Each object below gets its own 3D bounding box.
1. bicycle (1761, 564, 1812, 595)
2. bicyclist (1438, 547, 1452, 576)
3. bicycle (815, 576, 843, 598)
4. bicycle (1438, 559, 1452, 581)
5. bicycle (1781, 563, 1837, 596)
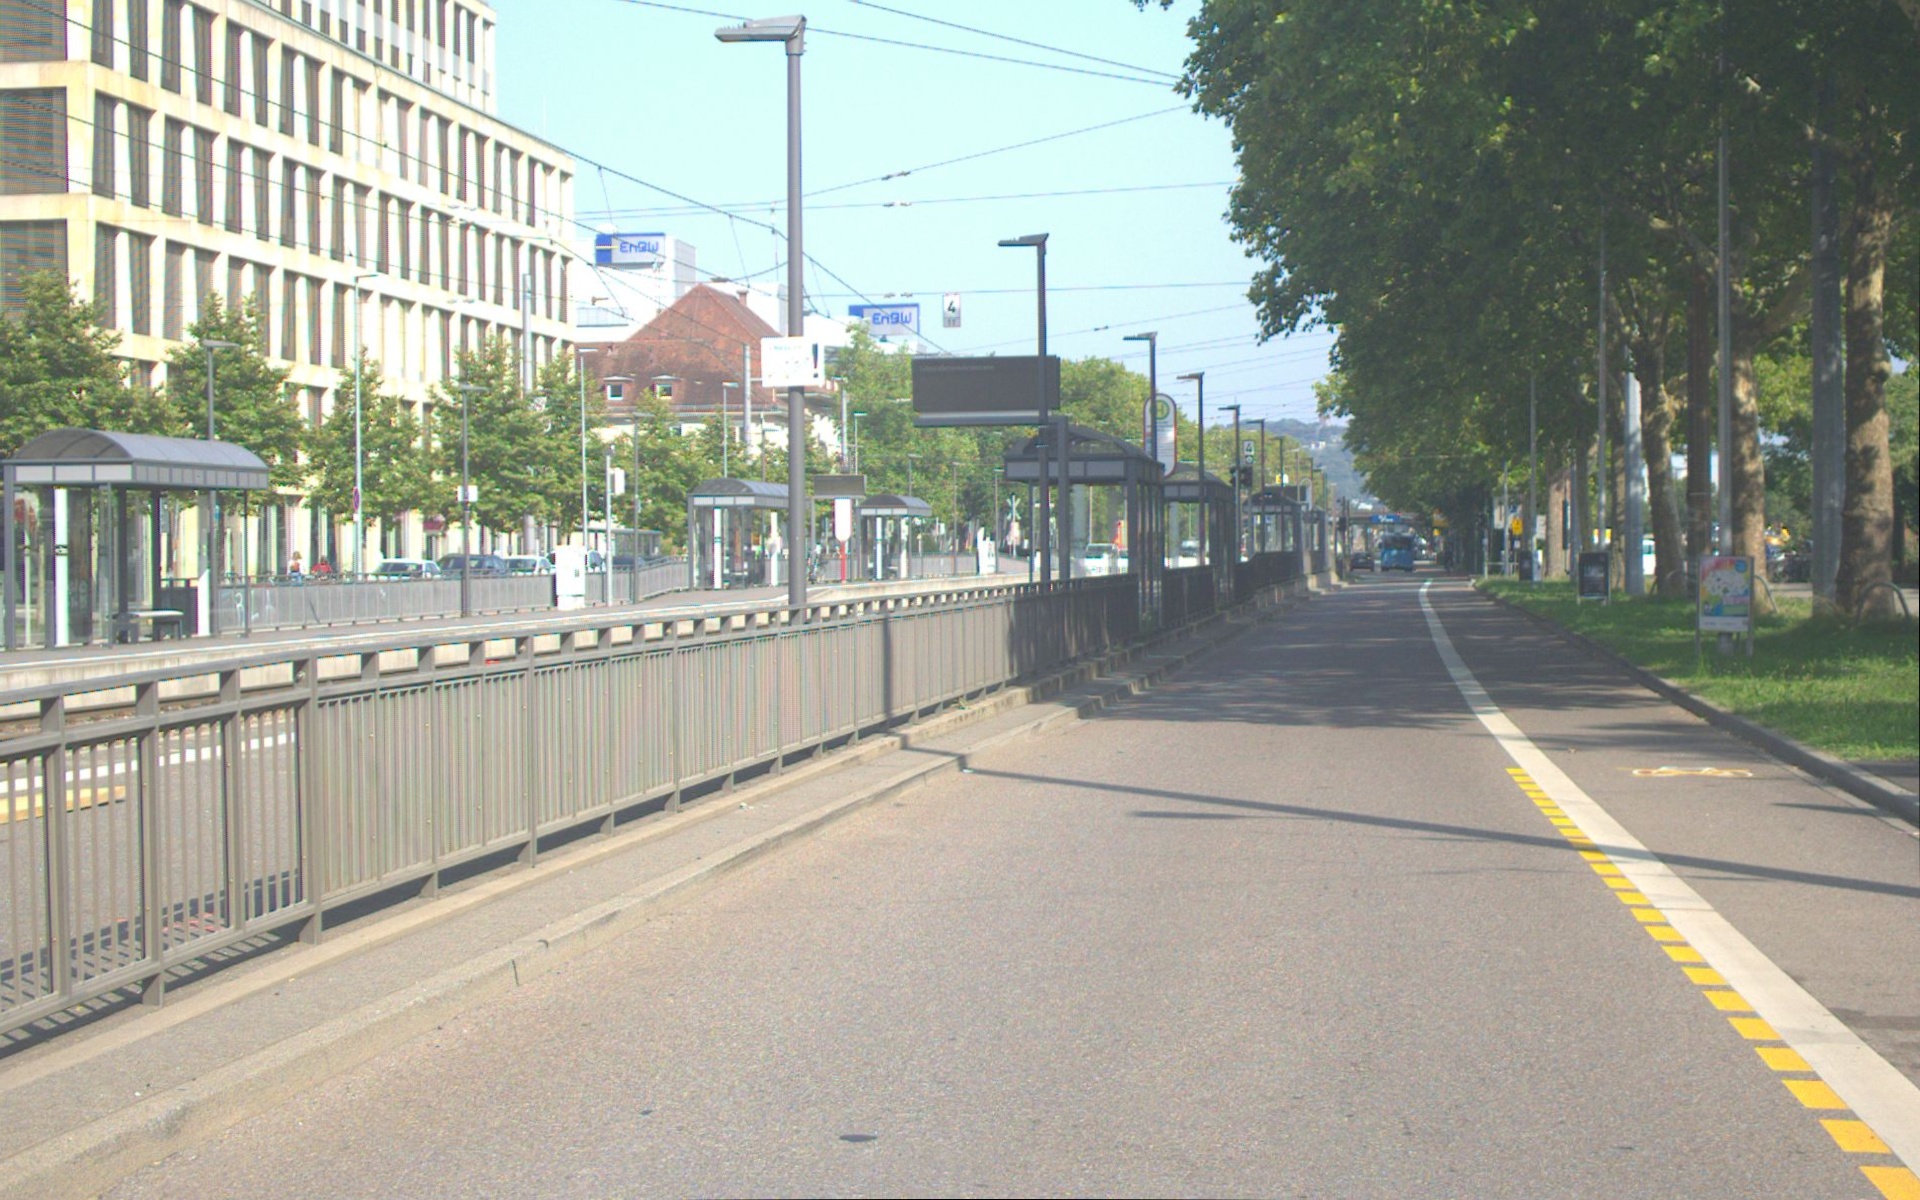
[{"bbox_3d":[26.840,-0.660,111.643,0.504,0.966,1.661,-3,0,-34],"label":"bicycle"},{"bbox_3d":[24.590,-1.927,174.303,0.706,1.456,1.009,0,0,8],"label":"bicyclist"},{"bbox_3d":[-4.135,-0.410,108.607,0.477,0.660,1.612,-1,0,12],"label":"bicycle"},{"bbox_3d":[24.593,-1.517,174.268,0.715,1.104,2.508,0,0,8],"label":"bicycle"},{"bbox_3d":[26.917,-0.646,109.002,1.657,0.966,0.506,-2,0,13],"label":"bicycle"}]
